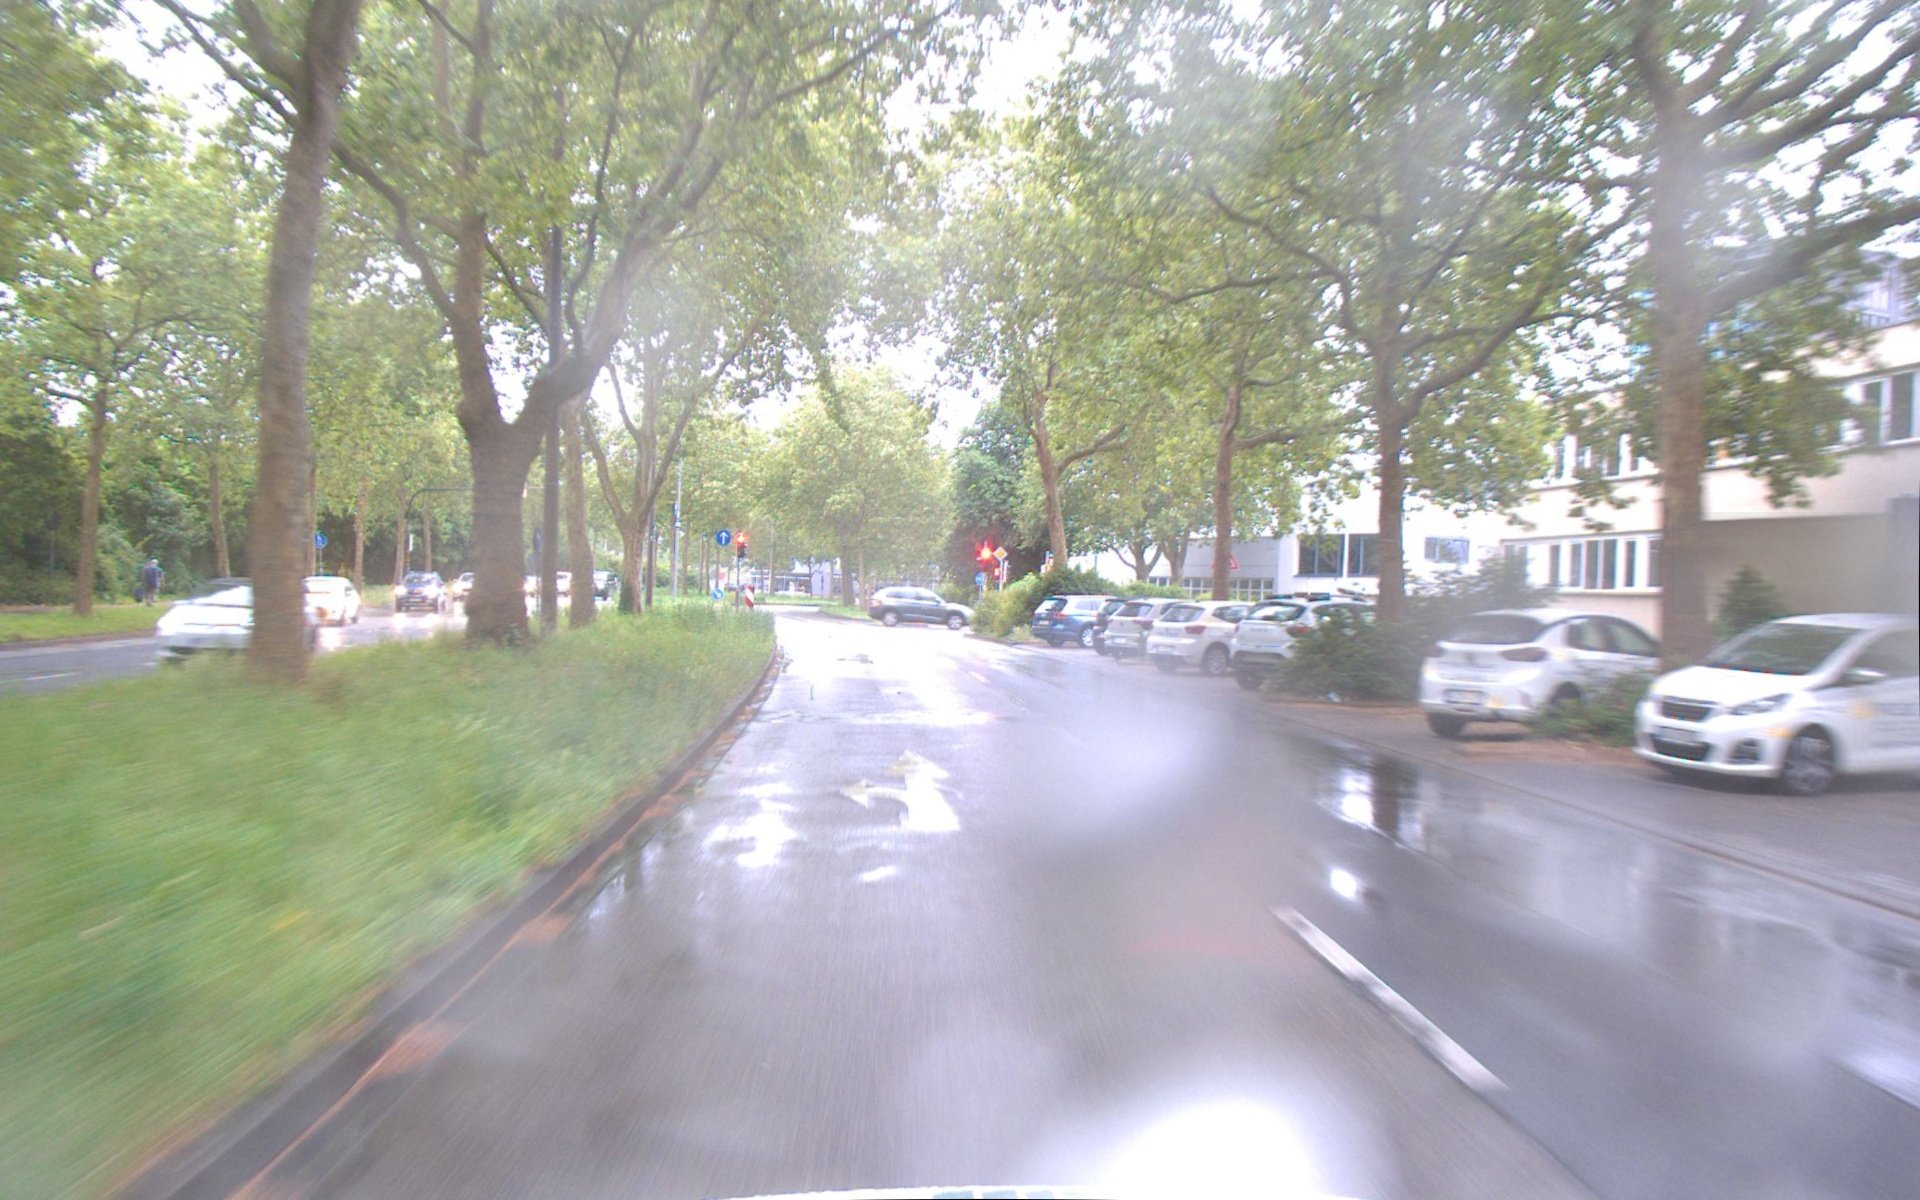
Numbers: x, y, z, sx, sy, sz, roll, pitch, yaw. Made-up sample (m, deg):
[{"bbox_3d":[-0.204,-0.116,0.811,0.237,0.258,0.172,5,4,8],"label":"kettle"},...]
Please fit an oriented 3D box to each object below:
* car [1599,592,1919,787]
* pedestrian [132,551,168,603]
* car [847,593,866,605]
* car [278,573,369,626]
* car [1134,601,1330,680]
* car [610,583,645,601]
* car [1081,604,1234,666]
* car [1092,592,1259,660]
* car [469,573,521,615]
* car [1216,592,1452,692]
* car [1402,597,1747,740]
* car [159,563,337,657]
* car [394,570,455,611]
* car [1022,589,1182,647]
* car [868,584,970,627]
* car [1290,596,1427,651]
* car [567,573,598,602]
[{"bbox_3d":[7.721,0.761,14.609,3.579,1.531,1.740,2,1,-19],"label":"car"},{"bbox_3d":[-27.236,-0.758,55.623,0.815,1.703,0.897,2,-1,-10],"label":"pedestrian"},{"bbox_3d":[-12.451,-0.123,199.567,1.553,1.397,4.265,2,0,7],"label":"car"},{"bbox_3d":[-19.852,-0.011,51.707,1.711,1.502,4.075,2,0,-8],"label":"car"},{"bbox_3d":[5.500,0.823,33.383,3.643,1.441,1.731,3,-1,-31],"label":"car"},{"bbox_3d":[-27.255,-0.650,135.835,1.553,1.397,4.265,2,0,6],"label":"car"},{"bbox_3d":[5.064,0.894,42.196,3.649,1.441,1.728,3,-1,-35],"label":"car"},{"bbox_3d":[5.084,0.623,38.915,3.649,1.441,1.754,3,-1,-35],"label":"car"},{"bbox_3d":[-19.275,-0.248,68.637,1.713,1.619,4.317,2,0,-12],"label":"car"},{"bbox_3d":[6.425,0.729,28.245,3.993,1.566,1.727,3,-1,-36],"label":"car"},{"bbox_3d":[7.077,0.781,18.924,3.990,1.453,1.728,3,-1,-35],"label":"car"},{"bbox_3d":[-12.648,0.175,29.662,1.710,1.502,4.403,2,0,-7],"label":"car"},{"bbox_3d":[-23.003,-0.394,71.185,1.711,1.619,4.202,2,0,-8],"label":"car"},{"bbox_3d":[4.126,0.525,47.899,4.436,1.484,1.731,3,-1,-31],"label":"car"},{"bbox_3d":[-1.735,0.235,70.870,4.203,1.679,1.749,2,-1,2],"label":"car"},{"bbox_3d":[14.374,0.847,59.723,4.457,1.788,1.776,2,-1,-12],"label":"car"},{"bbox_3d":[-25.645,-0.832,112.342,1.712,1.874,5.108,2,0,-10],"label":"car"}]
